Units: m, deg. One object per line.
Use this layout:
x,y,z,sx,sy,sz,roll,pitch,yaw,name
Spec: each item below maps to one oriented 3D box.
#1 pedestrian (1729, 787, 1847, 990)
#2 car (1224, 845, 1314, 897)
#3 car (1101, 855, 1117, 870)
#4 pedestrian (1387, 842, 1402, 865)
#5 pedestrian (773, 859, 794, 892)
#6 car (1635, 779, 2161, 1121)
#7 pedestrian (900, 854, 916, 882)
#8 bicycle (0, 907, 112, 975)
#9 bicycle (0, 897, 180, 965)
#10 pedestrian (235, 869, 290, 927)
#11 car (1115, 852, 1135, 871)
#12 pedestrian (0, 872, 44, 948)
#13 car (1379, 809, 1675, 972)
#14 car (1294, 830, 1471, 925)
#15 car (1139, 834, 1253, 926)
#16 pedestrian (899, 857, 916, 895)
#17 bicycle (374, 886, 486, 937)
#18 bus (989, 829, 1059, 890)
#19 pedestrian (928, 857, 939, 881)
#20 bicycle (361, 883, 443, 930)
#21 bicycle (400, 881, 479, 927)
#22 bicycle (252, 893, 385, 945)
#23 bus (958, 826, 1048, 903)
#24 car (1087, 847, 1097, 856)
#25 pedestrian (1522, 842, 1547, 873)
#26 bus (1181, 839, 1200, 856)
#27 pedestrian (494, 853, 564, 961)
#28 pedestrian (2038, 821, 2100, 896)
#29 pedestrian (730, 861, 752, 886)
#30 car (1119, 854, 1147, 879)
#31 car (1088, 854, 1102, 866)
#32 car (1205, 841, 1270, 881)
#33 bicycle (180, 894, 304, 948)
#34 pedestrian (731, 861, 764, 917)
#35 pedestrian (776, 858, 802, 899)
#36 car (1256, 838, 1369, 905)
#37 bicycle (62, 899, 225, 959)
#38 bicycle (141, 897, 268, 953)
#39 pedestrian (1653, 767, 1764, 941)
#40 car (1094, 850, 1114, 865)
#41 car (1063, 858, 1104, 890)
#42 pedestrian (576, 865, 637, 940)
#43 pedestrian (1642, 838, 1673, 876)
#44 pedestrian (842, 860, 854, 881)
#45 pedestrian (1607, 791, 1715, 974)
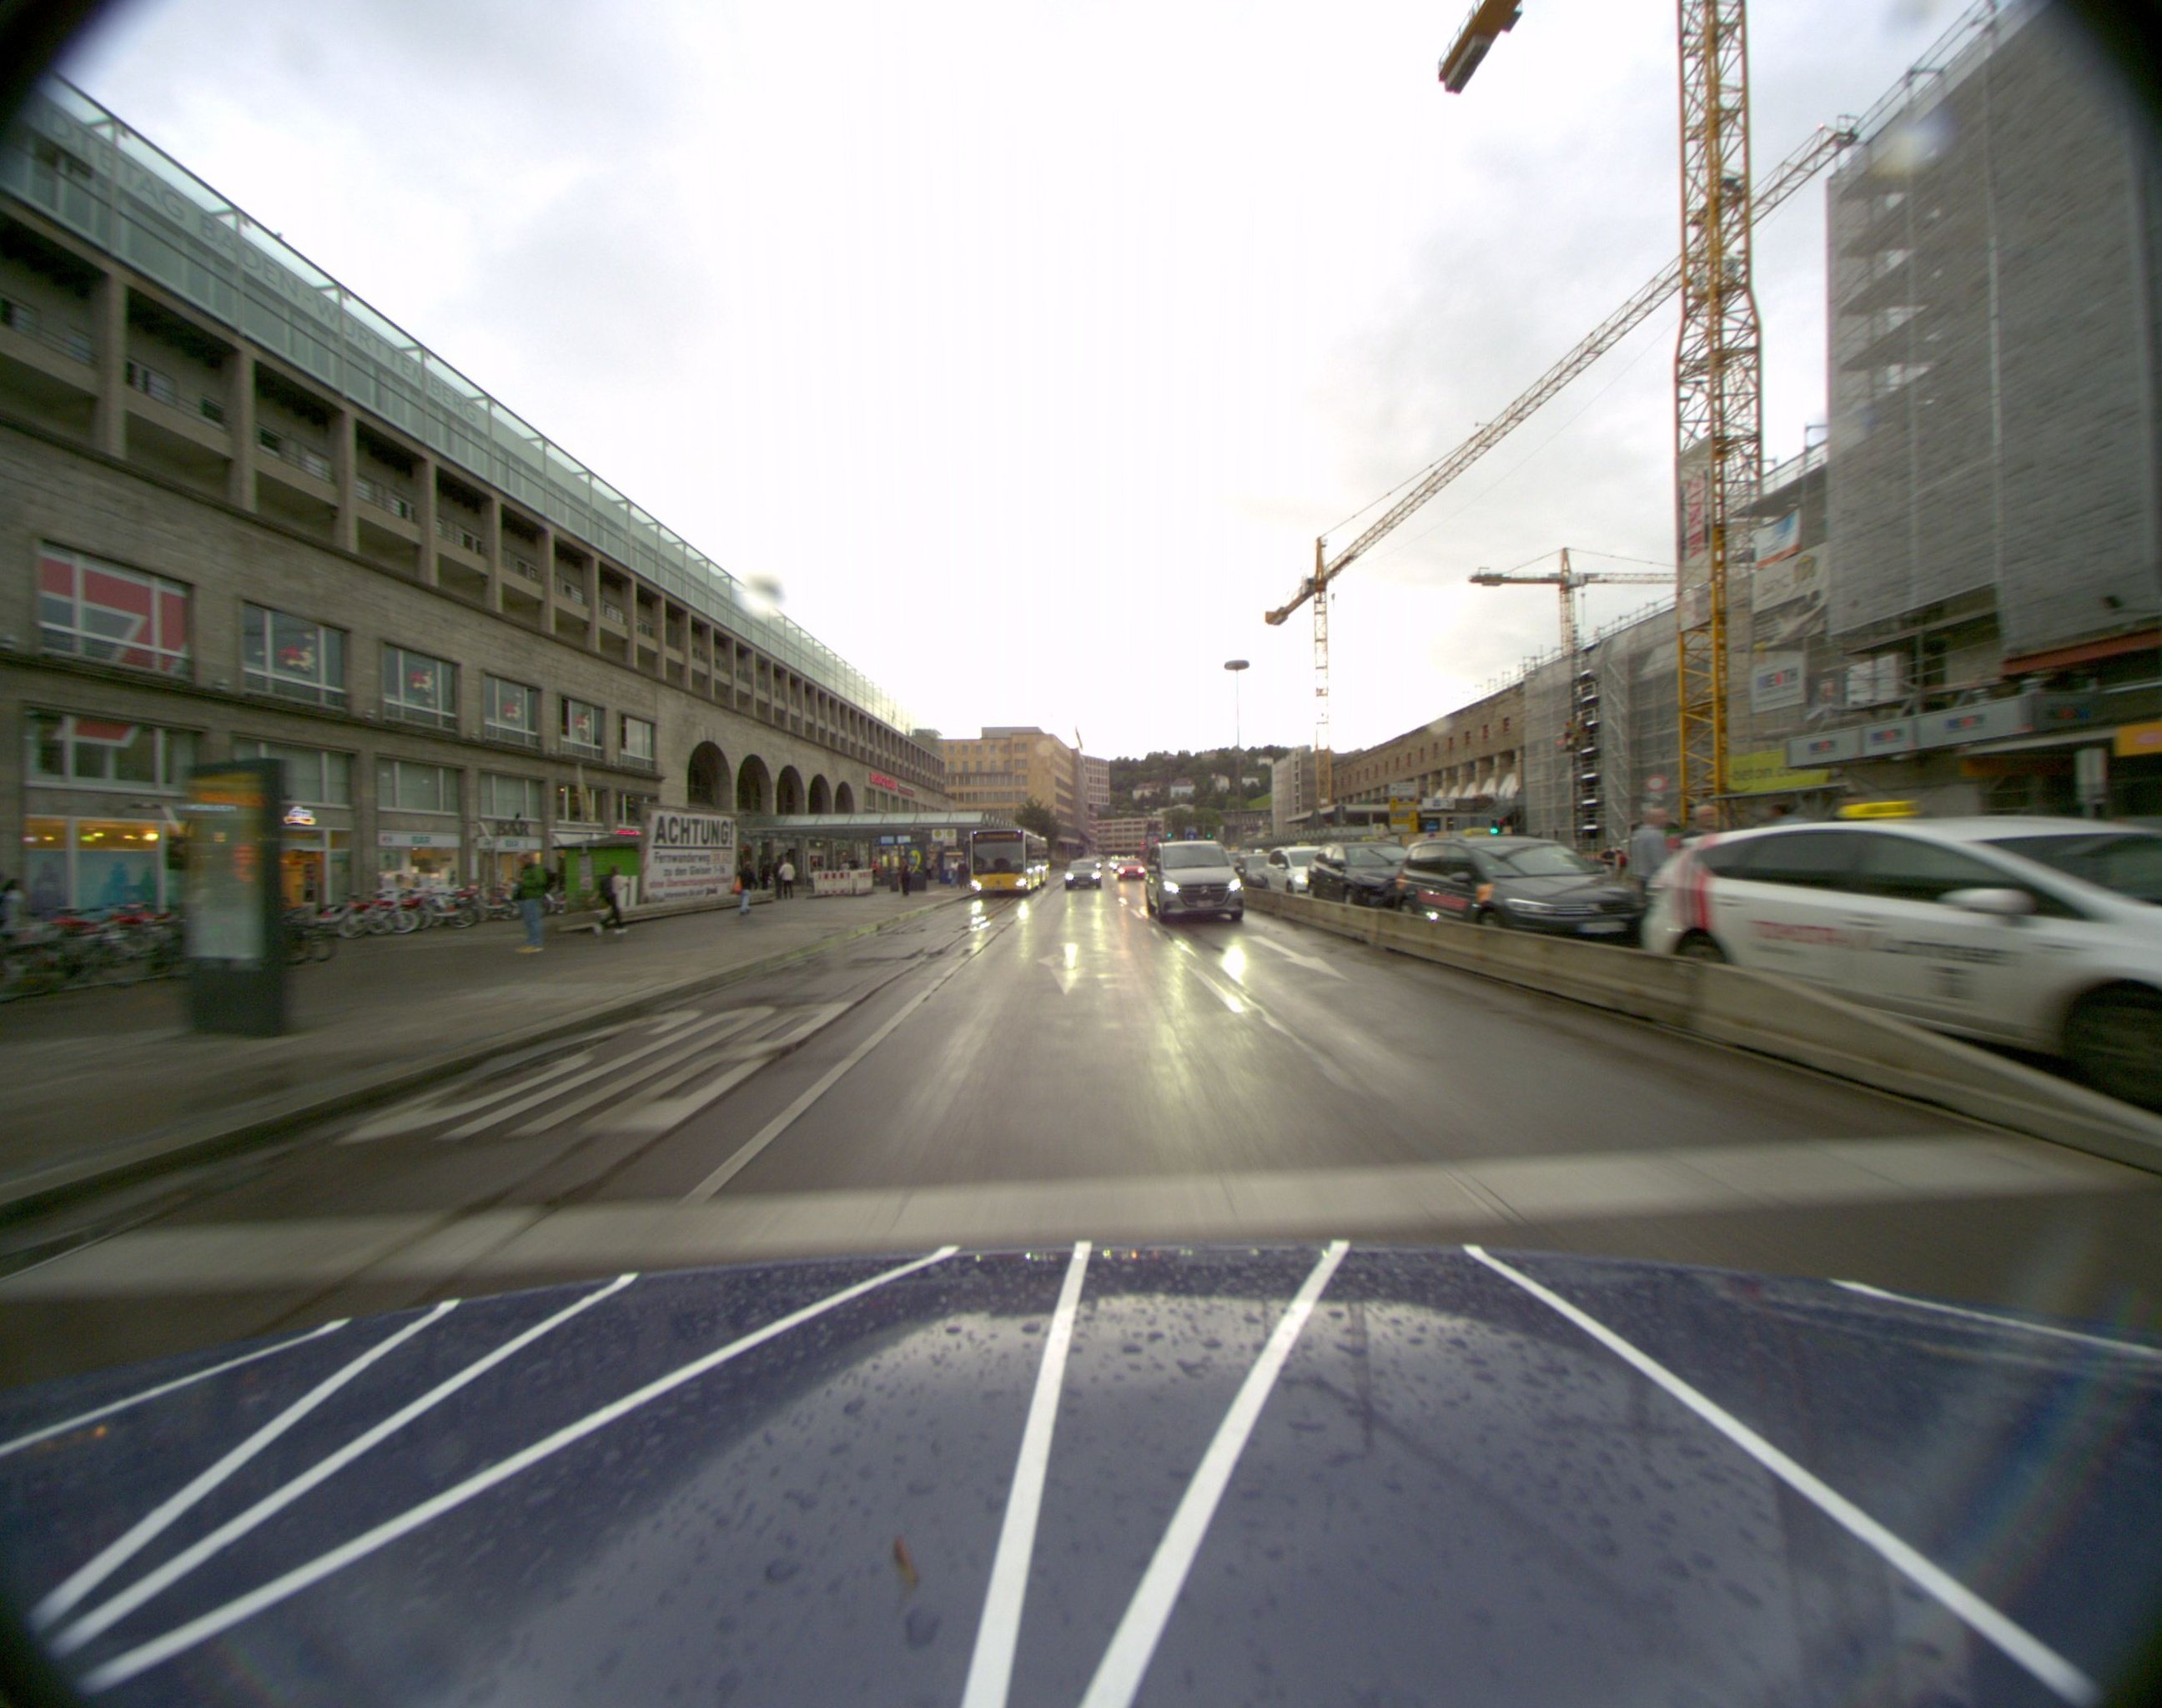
7.530,0.342,8.146,0.834,2.002,1.030,-1,1,39,pedestrian
6.783,0.567,28.042,2.054,1.701,5.055,-1,0,0,car
3.647,1.086,98.850,1.872,1.715,3.902,-2,1,2,car
27.342,-0.066,66.279,0.744,1.928,0.864,-4,1,-2,pedestrian
-16.311,1.153,41.631,0.994,1.782,0.787,-1,1,-27,pedestrian
6.223,0.452,5.033,1.791,1.676,4.667,-1,0,1,car
-11.470,0.928,50.423,0.790,1.794,0.990,-1,1,-26,pedestrian
-19.361,1.527,13.425,2.887,1.103,0.879,0,1,-11,bicycle
-18.970,1.448,14.499,2.233,1.103,0.741,-3,1,-14,bicycle
-25.039,1.340,23.251,0.723,1.686,0.776,-2,1,1,pedestrian
4.488,0.731,77.678,1.872,1.747,3.902,-2,1,2,car
-24.427,1.261,17.298,0.598,1.679,0.708,-1,1,1,pedestrian
6.131,0.420,11.202,1.718,1.881,4.610,-1,0,1,car
6.400,0.443,16.833,1.998,1.776,4.847,-1,0,0,car
2.699,0.568,19.052,1.998,1.893,5.250,-3,0,0,car
-7.585,0.967,33.250,0.595,1.609,0.511,-3,1,-9,pedestrian
-17.441,1.506,20.424,0.616,1.230,2.193,1,1,36,bicycle
-3.292,0.278,46.416,3.149,3.229,9.135,-2,1,2,bus
-11.709,1.168,60.404,0.608,1.849,0.625,-2,1,11,pedestrian
-18.819,1.445,21.064,1.992,1.230,0.618,0,1,11,bicycle
-18.277,1.413,21.644,1.992,1.230,0.618,0,1,12,bicycle
-18.406,1.552,18.407,2.093,1.133,0.888,0,1,-24,bicycle
-3.548,0.402,37.219,3.121,3.186,9.241,-2,1,1,bus
2.620,-0.535,172.119,1.998,1.873,4.998,-1,0,3,car
26.690,0.199,44.754,0.841,1.830,1.058,-2,0,6,pedestrian
23.870,-1.379,166.719,2.916,3.557,19.082,0,0,5,bus
-10.226,0.951,14.099,0.708,1.921,0.788,-1,1,-8,pedestrian
24.923,0.113,19.179,0.536,1.830,0.772,-2,1,7,pedestrian
-21.646,1.236,48.367,0.787,1.580,0.994,0,1,38,pedestrian
3.420,0.815,50.599,1.709,1.485,3.670,-2,1,3,car
1.986,0.837,105.504,1.763,1.582,3.843,-2,1,4,car
6.953,0.302,34.282,1.998,1.644,4.641,-1,0,0,car
-18.720,1.479,17.003,1.737,1.103,0.687,0,1,-21,bicycle
-9.606,1.001,21.886,0.652,1.609,0.502,-1,1,16,pedestrian
-13.001,1.082,33.814,0.733,1.782,0.757,-1,1,16,pedestrian
6.799,0.475,22.816,1.999,1.776,4.453,-1,0,0,car
-18.930,1.491,15.396,1.984,1.103,0.824,0,1,-13,bicycle
-18.679,1.493,16.237,1.696,1.103,0.673,0,1,-13,bicycle
7.568,0.004,9.203,0.623,2.002,0.836,-1,0,1,pedestrian
2.511,0.369,83.194,1.998,1.548,3.909,-1,0,3,car
0.218,1.026,40.279,1.822,1.455,4.701,-4,0,3,car
-10.638,1.069,17.061,0.787,1.632,0.790,-1,1,16,pedestrian
24.900,0.121,32.840,0.678,1.604,0.839,-2,1,4,pedestrian
-18.475,1.294,60.270,0.795,1.609,0.870,-1,1,-9,pedestrian
6.703,0.316,8.824,0.529,2.002,0.890,-1,0,-1,pedestrian
